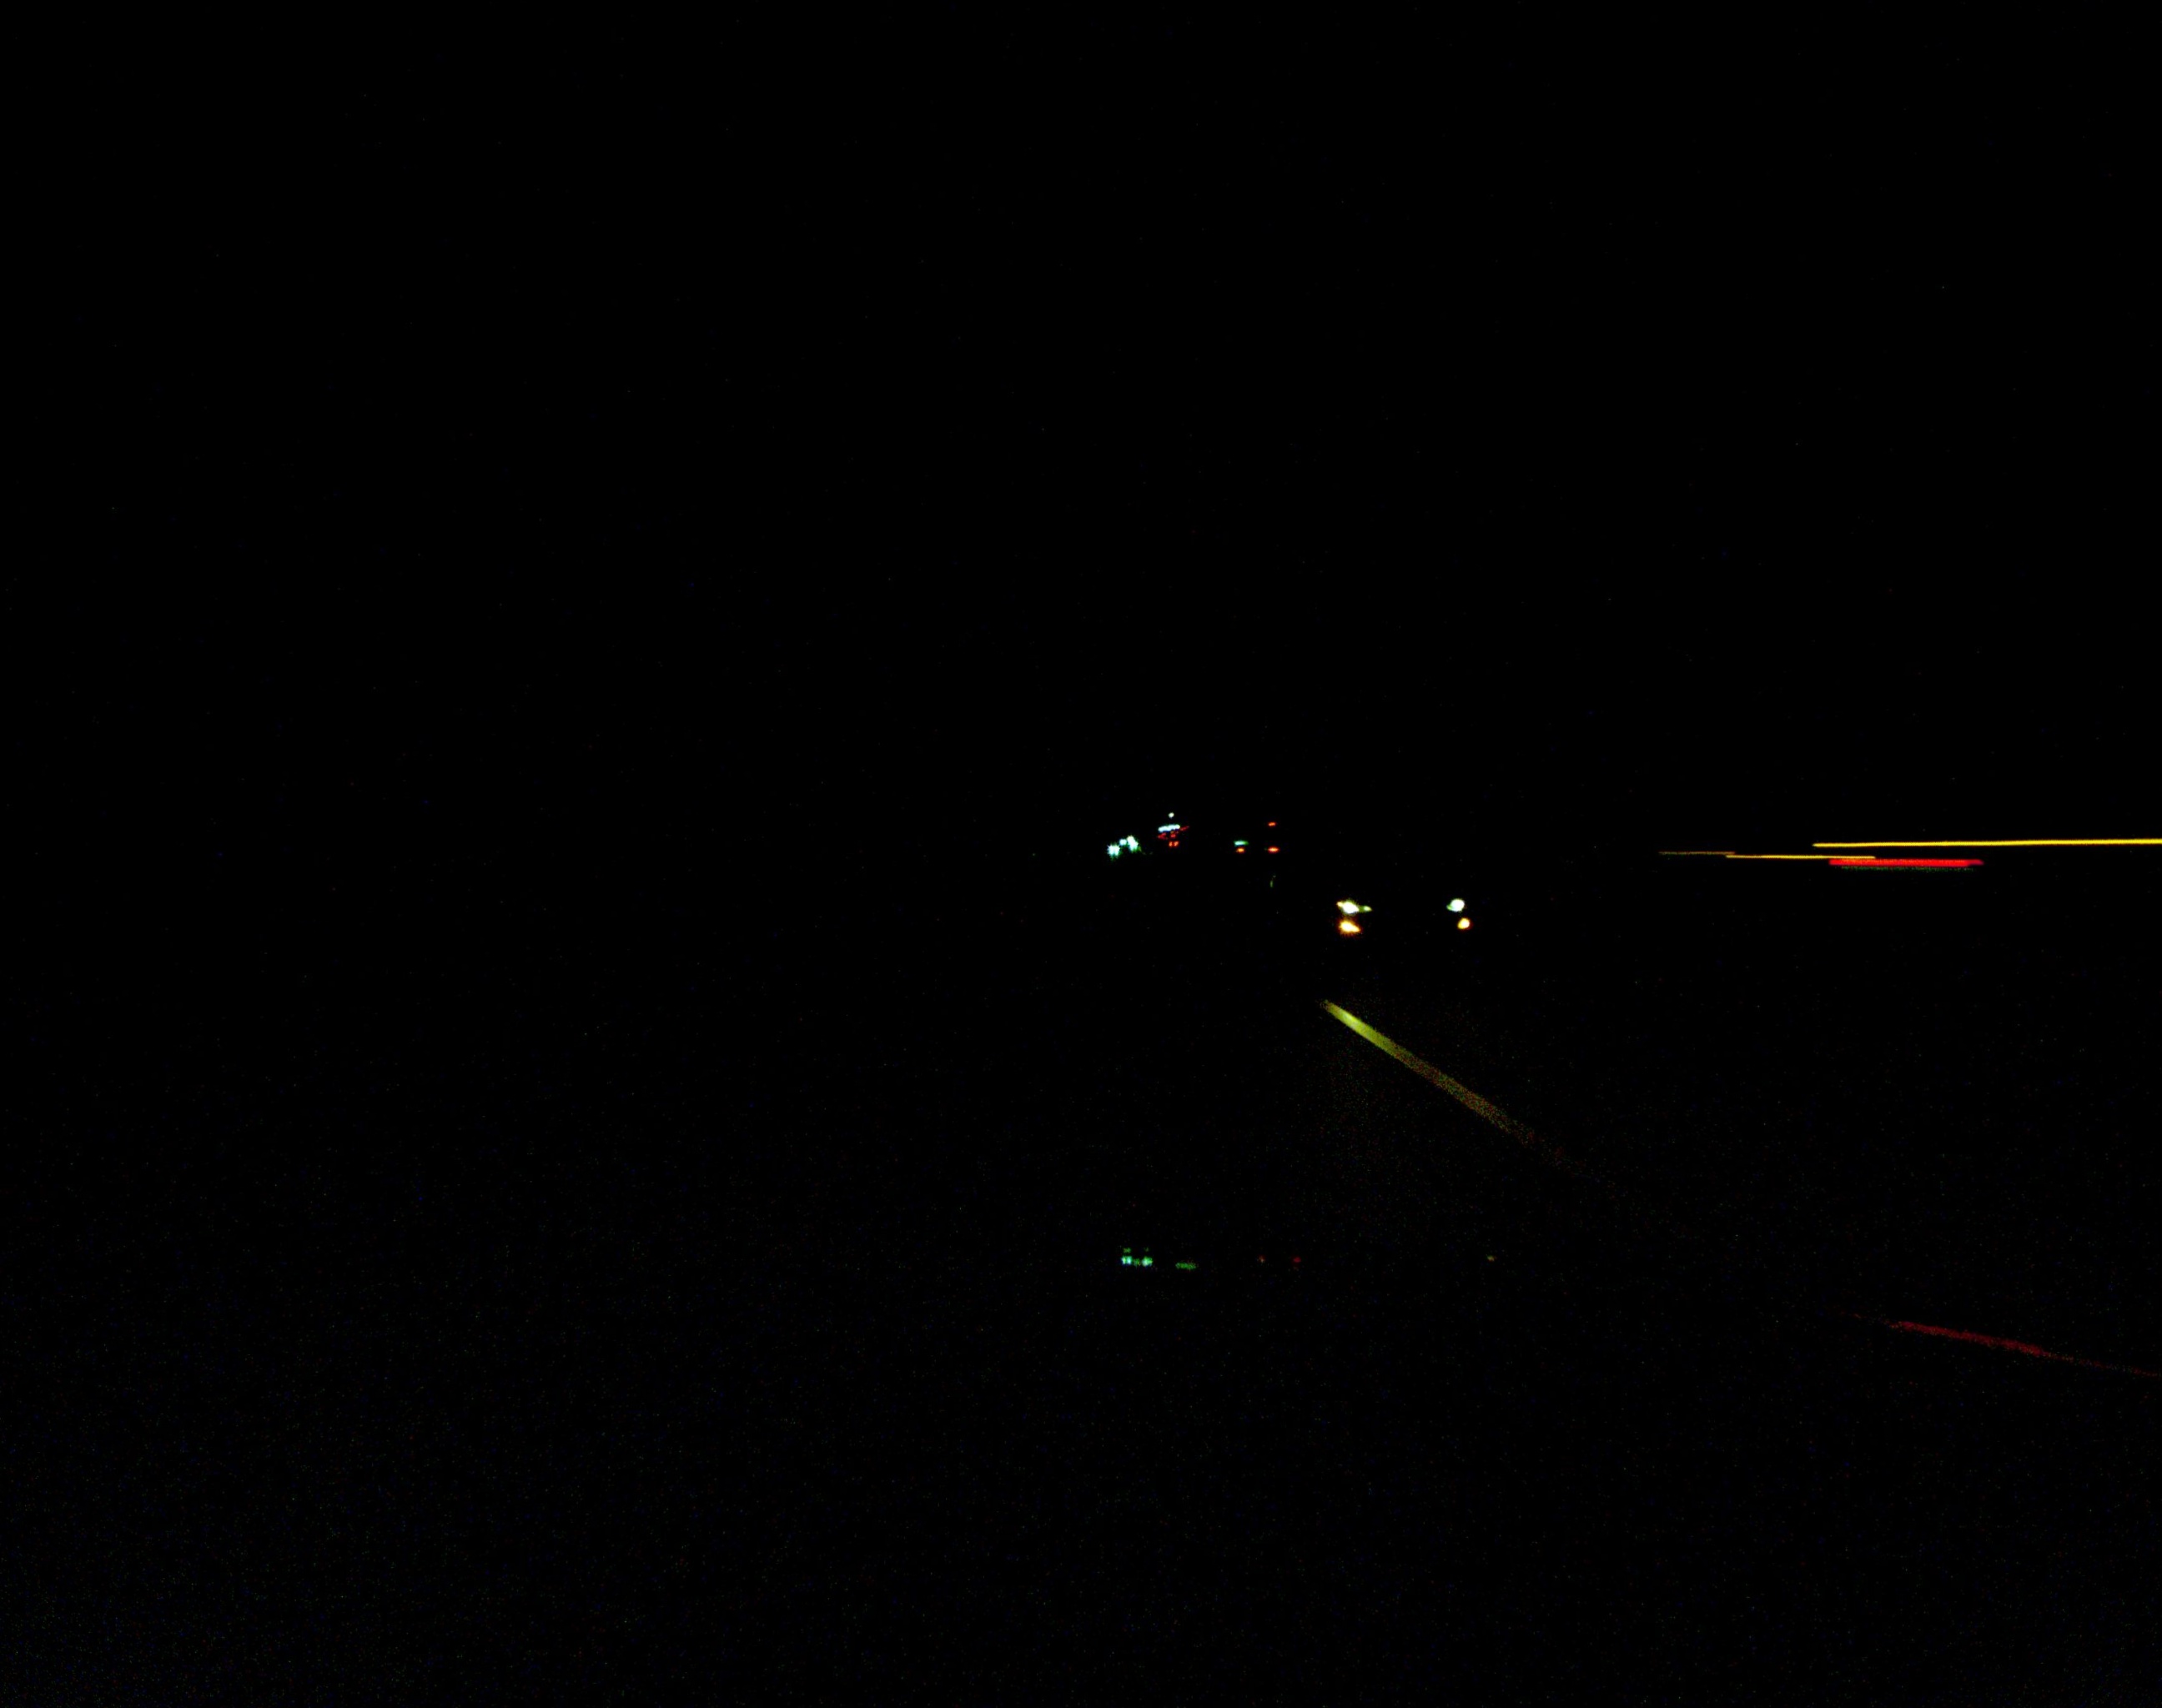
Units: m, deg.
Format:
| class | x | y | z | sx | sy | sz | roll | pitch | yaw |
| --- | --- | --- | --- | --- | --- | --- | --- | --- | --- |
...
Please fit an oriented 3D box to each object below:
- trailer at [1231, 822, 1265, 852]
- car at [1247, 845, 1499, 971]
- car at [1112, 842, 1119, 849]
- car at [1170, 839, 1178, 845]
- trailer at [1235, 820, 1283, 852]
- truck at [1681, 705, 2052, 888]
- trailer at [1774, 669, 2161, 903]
| class | x | y | z | sx | sy | sz | roll | pitch | yaw |
| --- | --- | --- | --- | --- | --- | --- | --- | --- | --- |
| trailer | 23.873 | -2.438 | 109.085 | 3.438 | 3.957 | 7.352 | -2 | 1 | 2 |
| car | 4.321 | 0.701 | 12.463 | 1.998 | 1.509 | 5.651 | -3 | 0 | 1 |
| car | 9.702 | -2.357 | 212.509 | 1.998 | 1.653 | 3.999 | -2 | 2 | 3 |
| car | 25.787 | -3.368 | 210.191 | 1.827 | 1.685 | 4.672 | -2 | 2 | 2 |
| trailer | 23.658 | -2.341 | 101.813 | 3.438 | 3.957 | 14.047 | -2 | 1 | 2 |
| truck | 20.110 | -1.323 | 20.177 | 3.439 | 3.957 | 6.206 | -2 | 1 | 0 |
| trailer | 20.066 | -1.221 | 13.224 | 3.438 | 3.957 | 13.809 | -2 | 1 | 1 |
